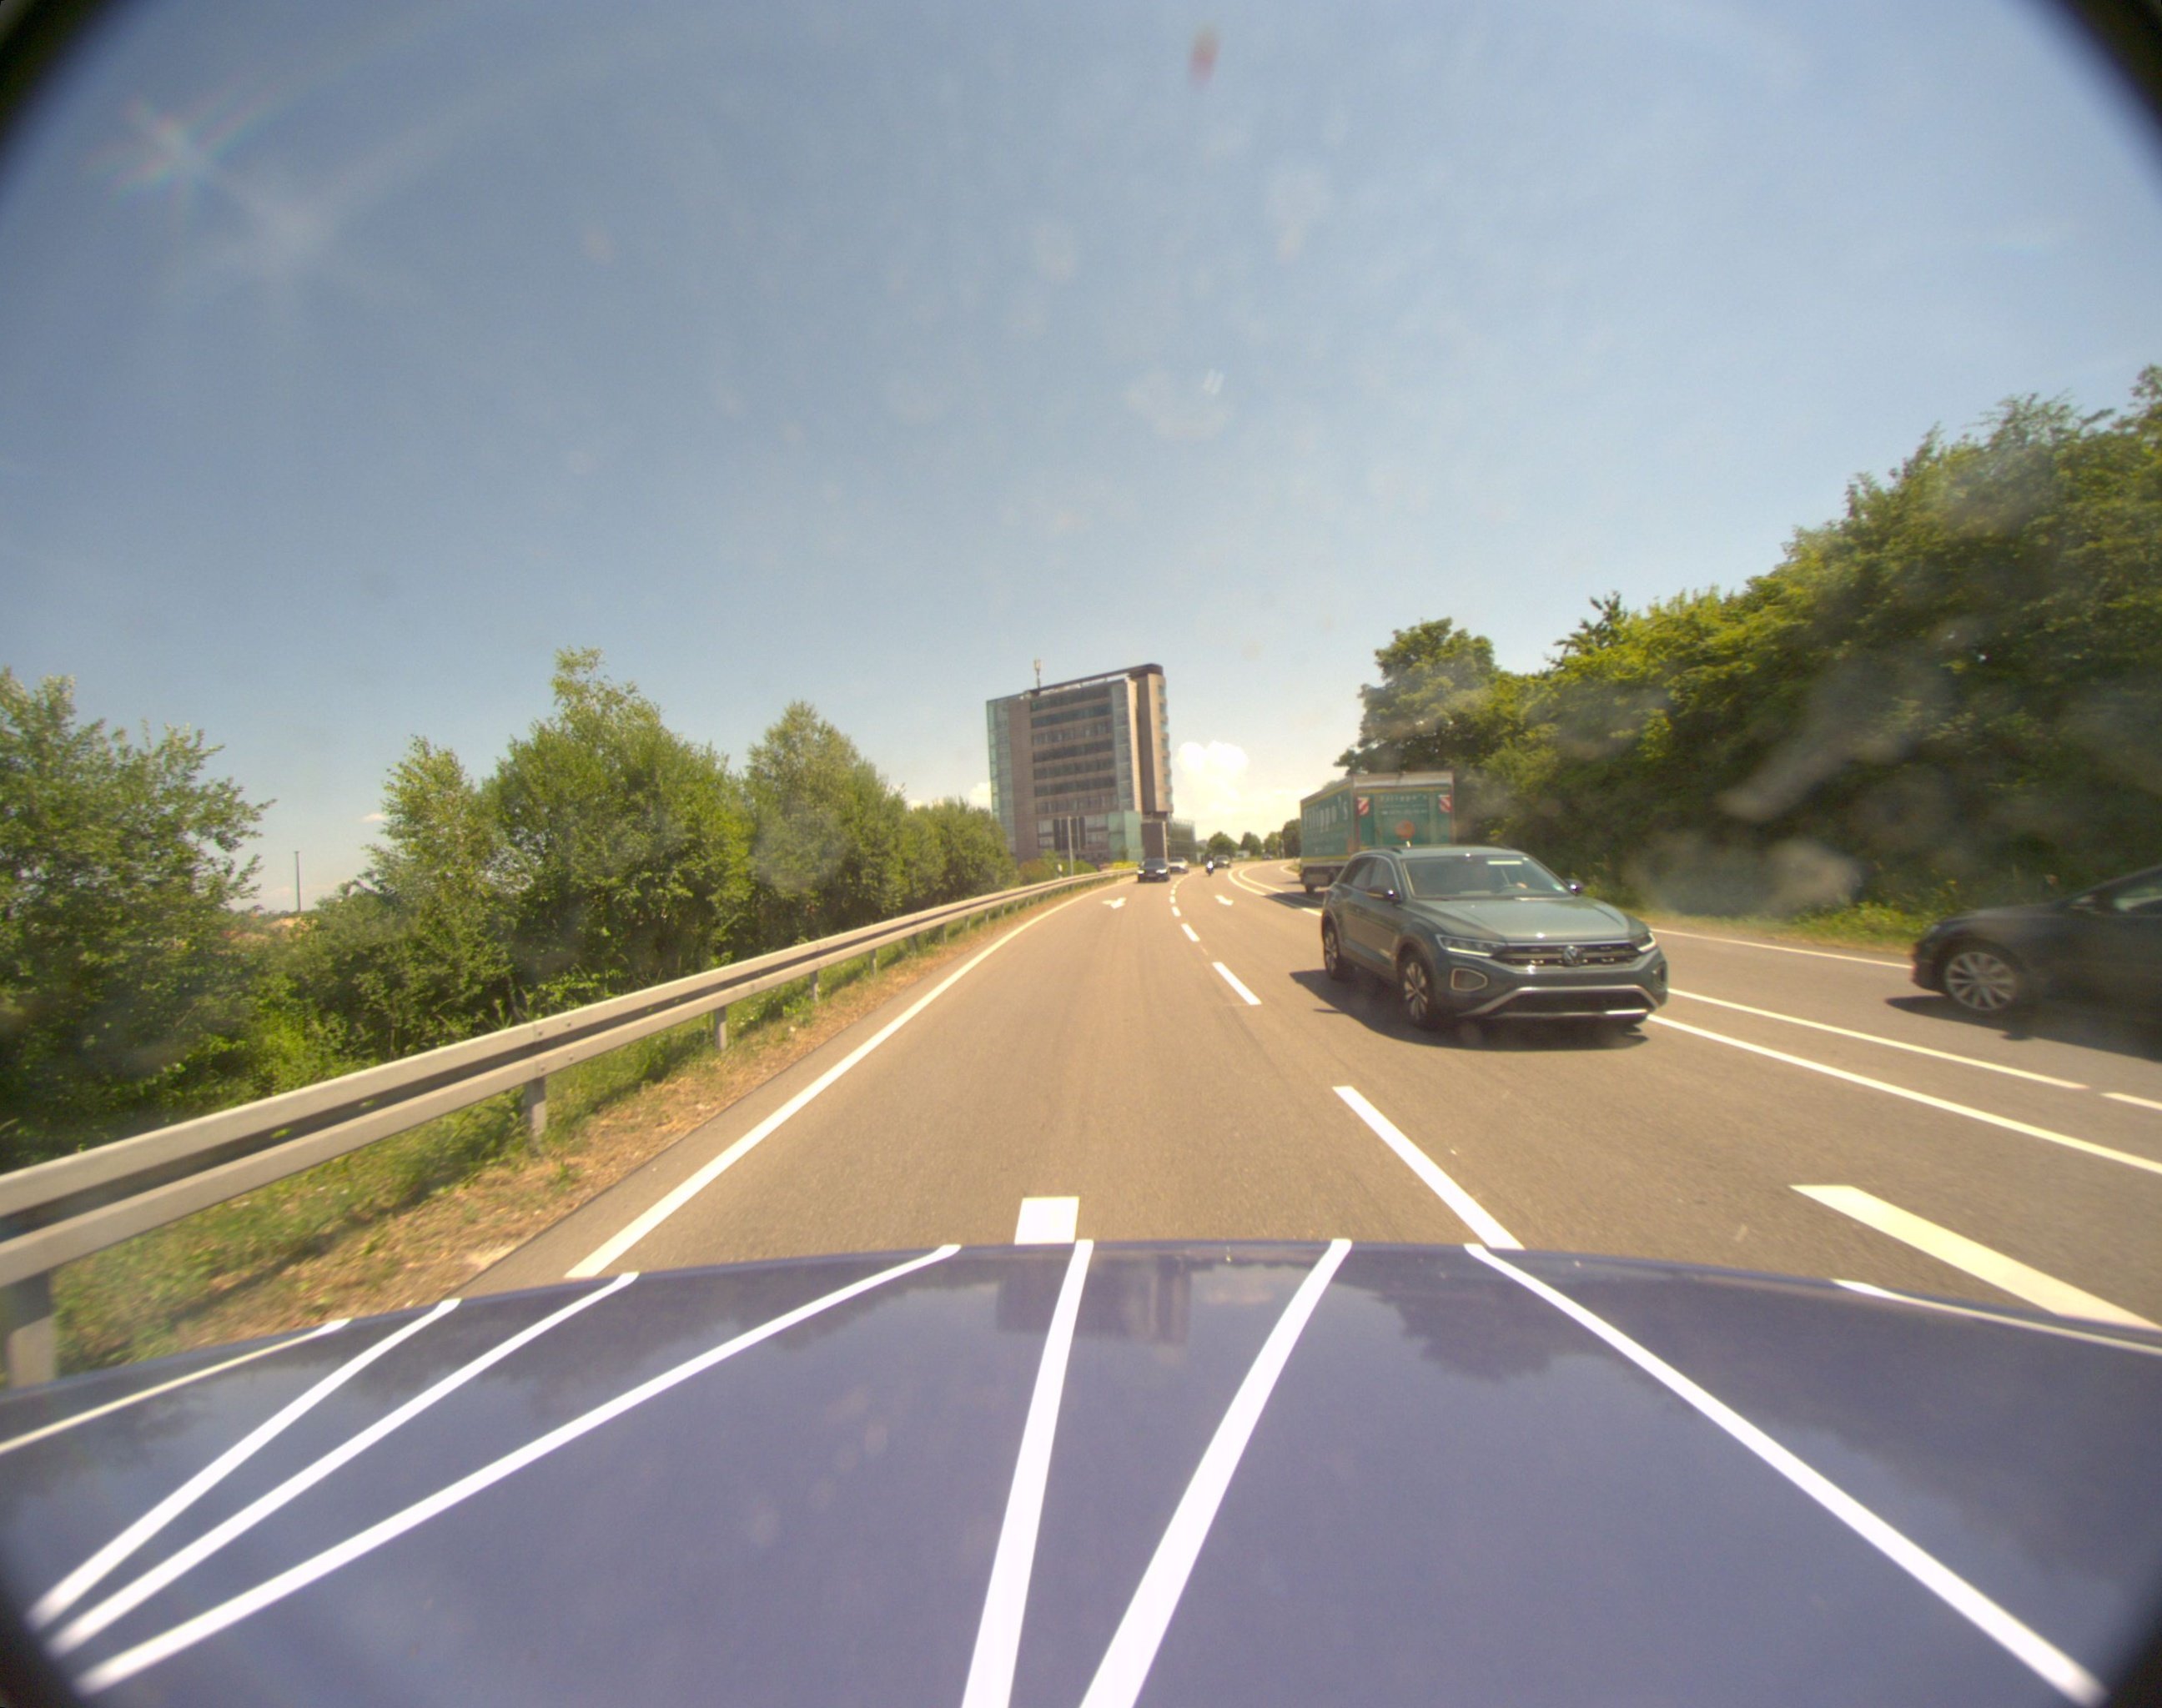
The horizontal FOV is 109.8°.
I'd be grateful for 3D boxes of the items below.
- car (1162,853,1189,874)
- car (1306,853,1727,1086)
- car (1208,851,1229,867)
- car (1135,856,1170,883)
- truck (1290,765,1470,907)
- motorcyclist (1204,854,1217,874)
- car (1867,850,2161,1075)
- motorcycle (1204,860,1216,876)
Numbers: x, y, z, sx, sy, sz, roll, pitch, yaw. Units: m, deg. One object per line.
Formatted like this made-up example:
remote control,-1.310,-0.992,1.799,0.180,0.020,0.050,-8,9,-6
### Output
car,8.387,0.869,67.001,1.932,1.576,4.184,-5,-3,11
car,3.632,0.811,7.433,1.838,1.577,4.392,-2,0,4
car,15.542,0.563,85.771,2.115,1.581,4.455,-3,0,13
car,4.472,0.931,46.929,1.778,1.497,4.565,-2,-1,10
truck,8.985,-0.458,24.289,2.875,3.553,9.435,-2,0,6
motorcyclist,9.442,0.731,55.228,0.860,1.479,1.162,-1,0,7
car,8.057,0.712,4.702,1.882,1.433,4.329,-2,0,0
motorcycle,9.363,1.002,55.306,0.733,1.131,2.074,-1,0,7
